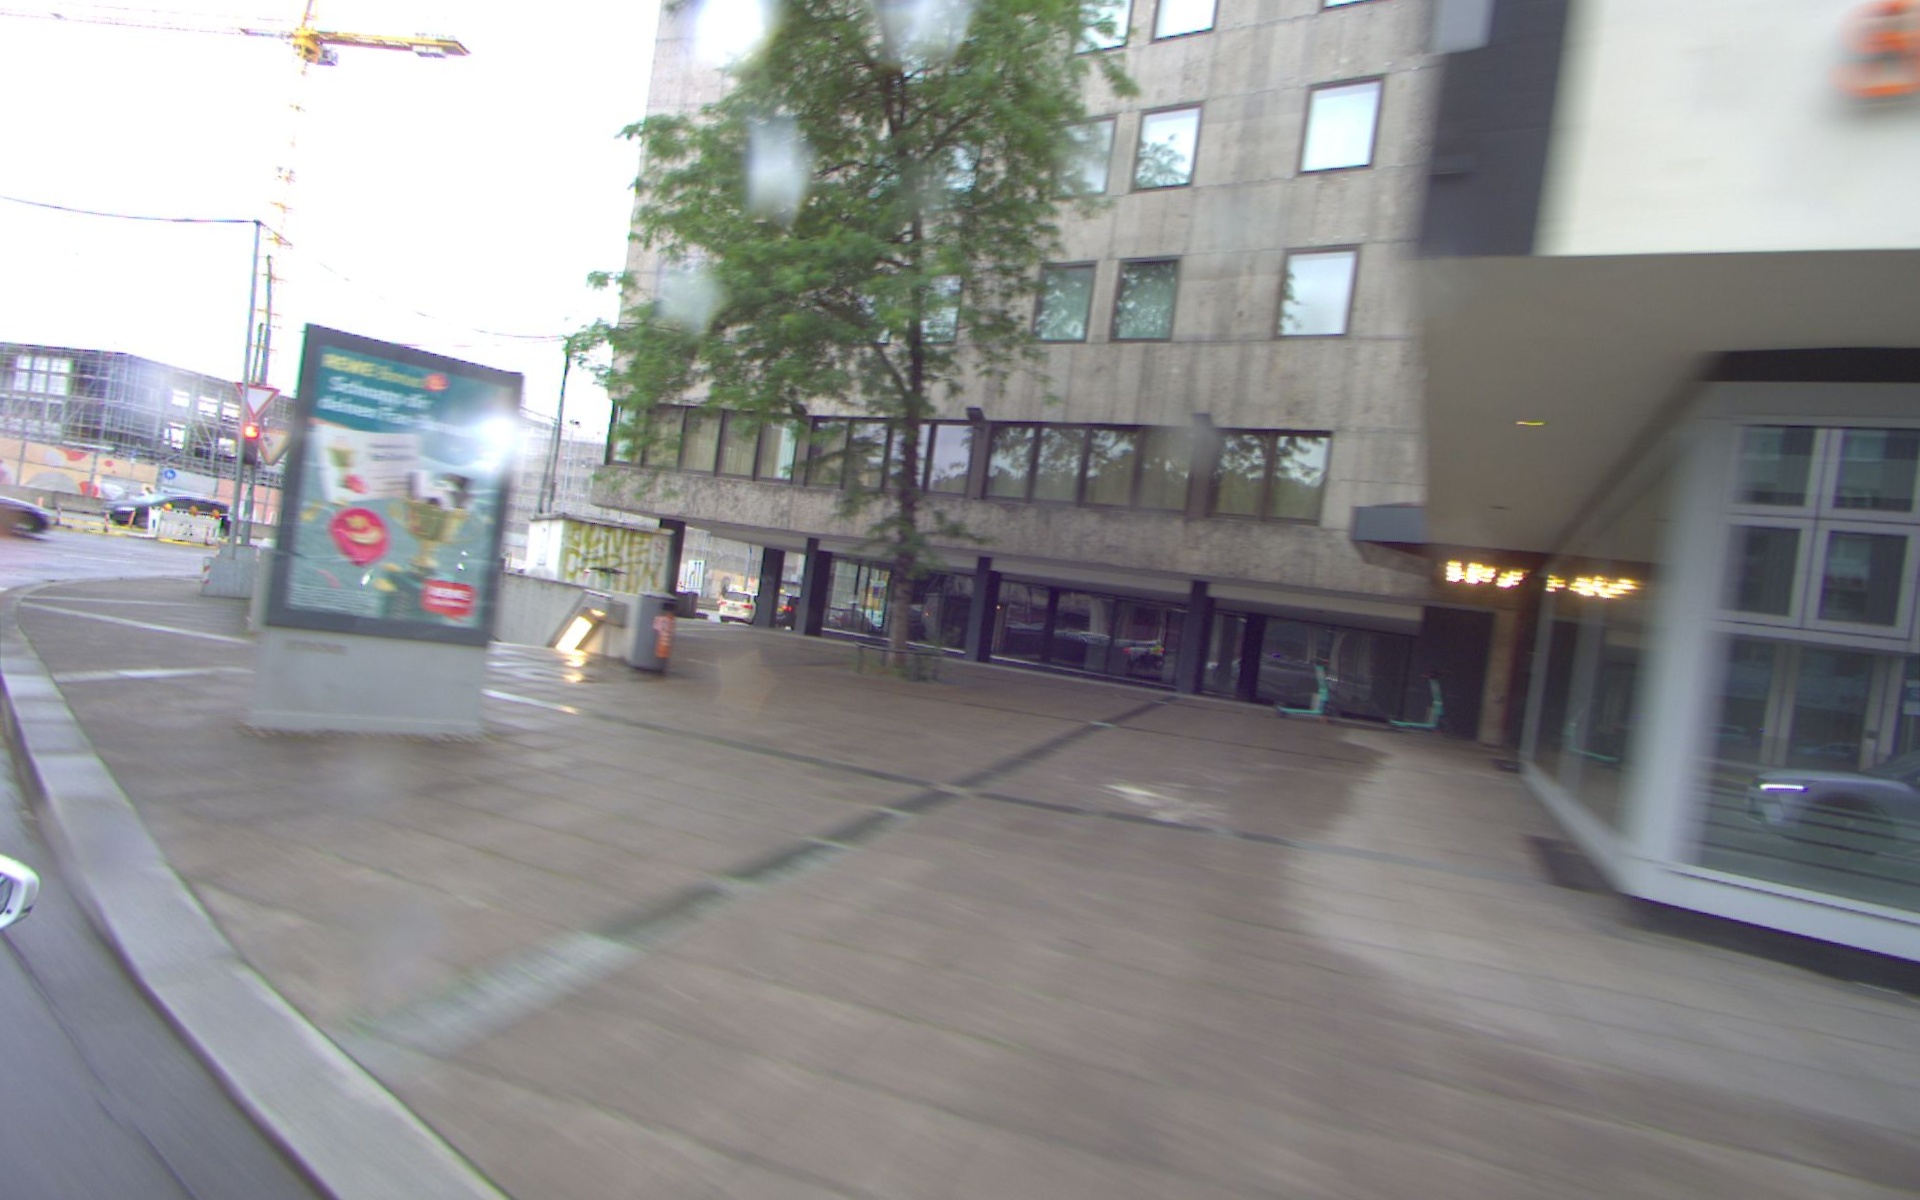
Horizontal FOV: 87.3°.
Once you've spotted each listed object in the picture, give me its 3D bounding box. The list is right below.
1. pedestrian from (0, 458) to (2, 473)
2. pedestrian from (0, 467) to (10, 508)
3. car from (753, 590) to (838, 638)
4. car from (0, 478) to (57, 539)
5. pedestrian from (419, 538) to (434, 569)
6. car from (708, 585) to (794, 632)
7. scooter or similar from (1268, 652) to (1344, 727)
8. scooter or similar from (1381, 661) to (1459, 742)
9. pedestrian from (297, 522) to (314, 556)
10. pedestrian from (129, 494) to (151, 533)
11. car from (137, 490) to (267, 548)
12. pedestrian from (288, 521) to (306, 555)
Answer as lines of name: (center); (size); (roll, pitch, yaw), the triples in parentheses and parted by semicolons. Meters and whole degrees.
pedestrian: (-45.603, -5.789, 47.294); (0.356, 1.920, 0.575); (6, -2, 34)
pedestrian: (-47.002, -5.531, 49.162); (0.356, 1.920, 0.575); (6, -2, 34)
car: (-7.584, 0.683, 46.696); (1.963, 1.658, 4.004); (7, -3, 21)
car: (-25.727, -2.601, 25.310); (1.970, 1.360, 4.102); (6, -3, 37)
pedestrian: (-34.985, -3.045, 65.977); (0.356, 1.920, 0.576); (7, -2, 27)
car: (-9.809, 0.421, 47.612); (1.963, 1.658, 4.004); (7, -3, 21)
scooter or similar: (6.675, 1.708, 19.408); (1.209, 1.269, 0.564); (7, 1, 26)
scooter or similar: (8.725, 1.915, 19.098); (1.209, 1.352, 0.520); (7, -2, 26)
pedestrian: (-39.313, -3.652, 60.415); (0.356, 1.920, 0.576); (7, -1, 25)
pedestrian: (-43.129, -4.545, 52.911); (0.356, 1.920, 0.576); (7, -2, 27)
car: (-33.481, -3.530, 44.551); (1.963, 1.753, 4.003); (7, -3, 22)
pedestrian: (-40.074, -3.737, 60.810); (0.356, 1.920, 0.576); (7, -1, 25)
